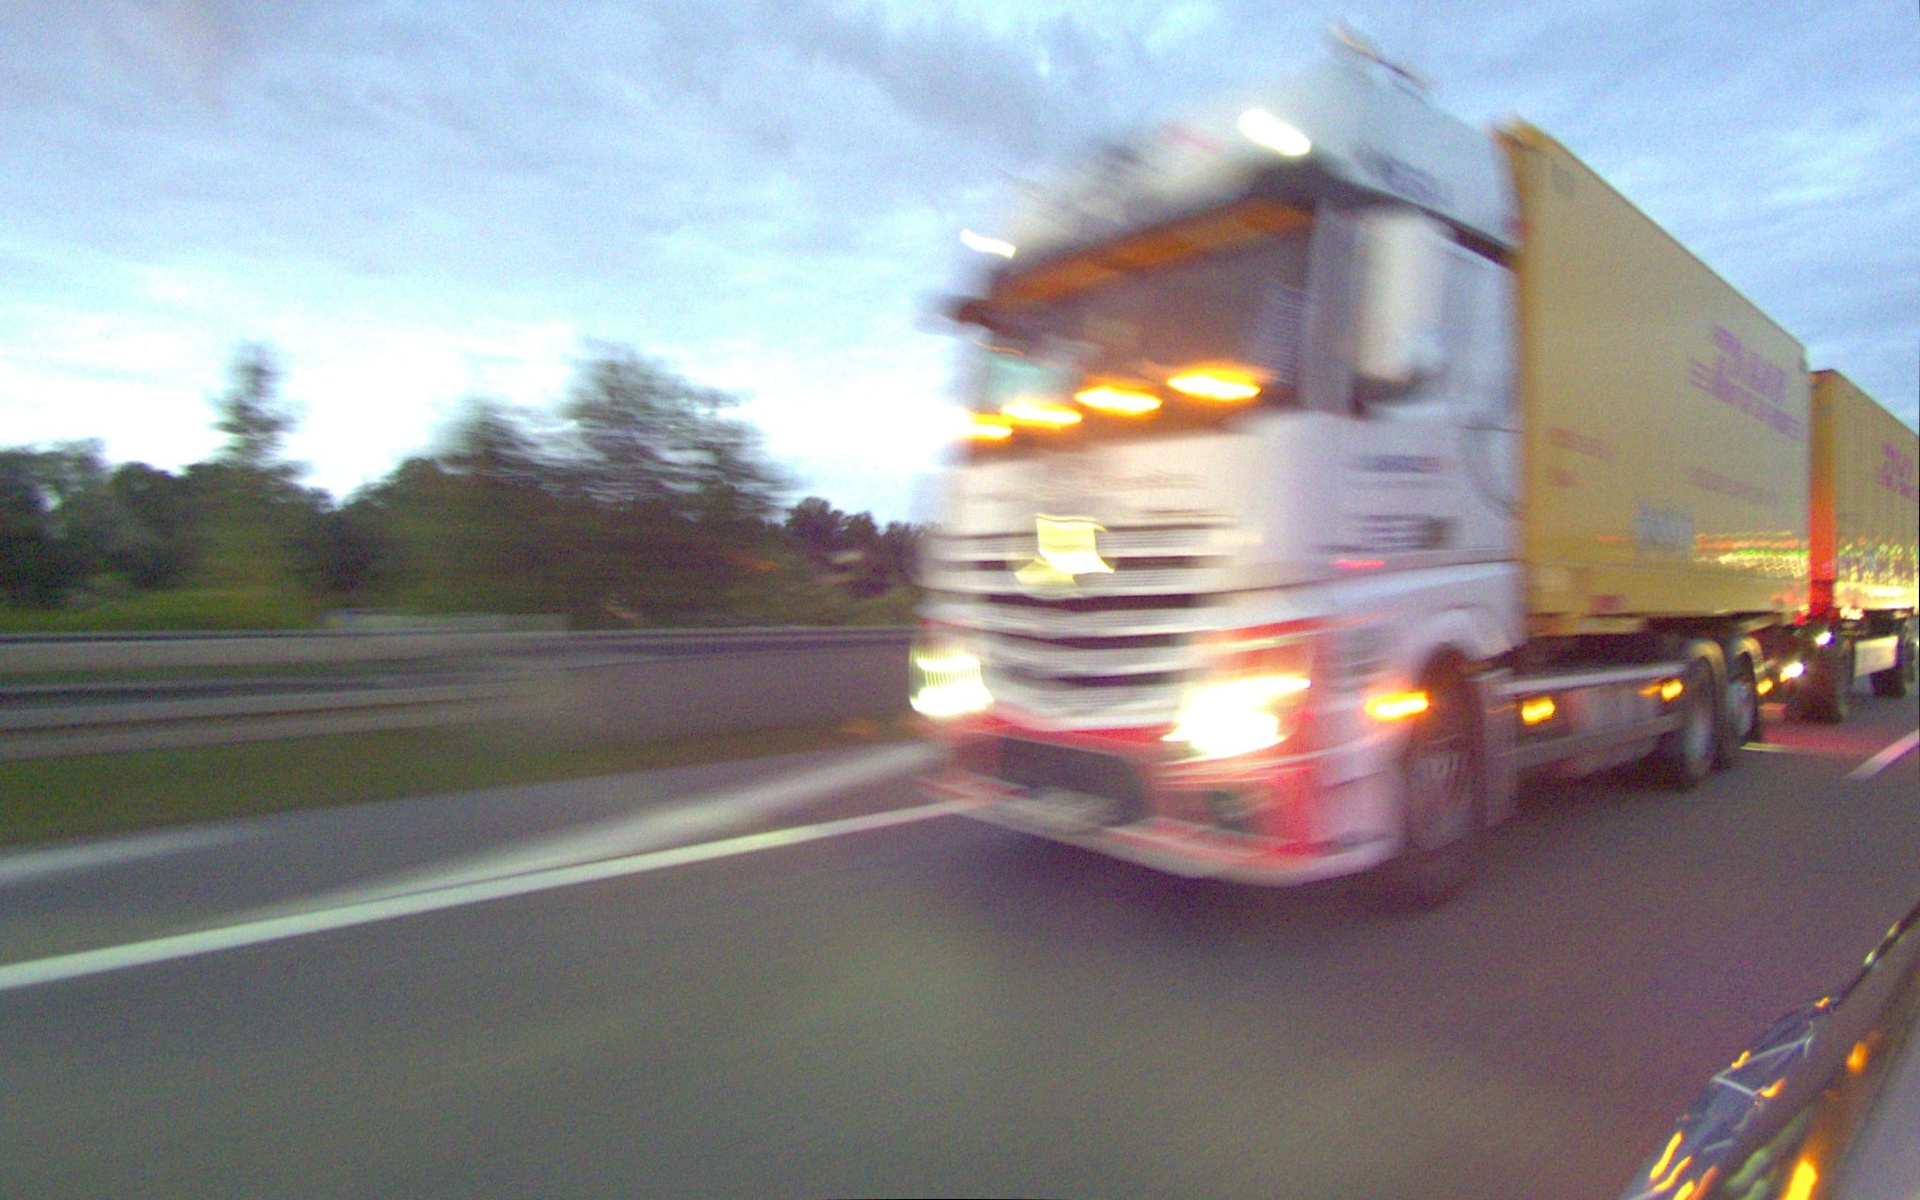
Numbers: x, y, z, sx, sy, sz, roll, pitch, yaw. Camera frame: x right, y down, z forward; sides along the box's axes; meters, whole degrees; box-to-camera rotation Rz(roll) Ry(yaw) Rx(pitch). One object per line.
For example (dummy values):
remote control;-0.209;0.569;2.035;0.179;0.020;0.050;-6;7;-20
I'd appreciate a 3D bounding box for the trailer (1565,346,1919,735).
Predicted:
trailer;11.825;-0.642;14.597;8.675;4.123;2.727;0;0;-41

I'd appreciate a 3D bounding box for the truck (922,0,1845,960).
truck;4.567;-0.668;8.351;10.334;4.123;2.695;0;0;-41
